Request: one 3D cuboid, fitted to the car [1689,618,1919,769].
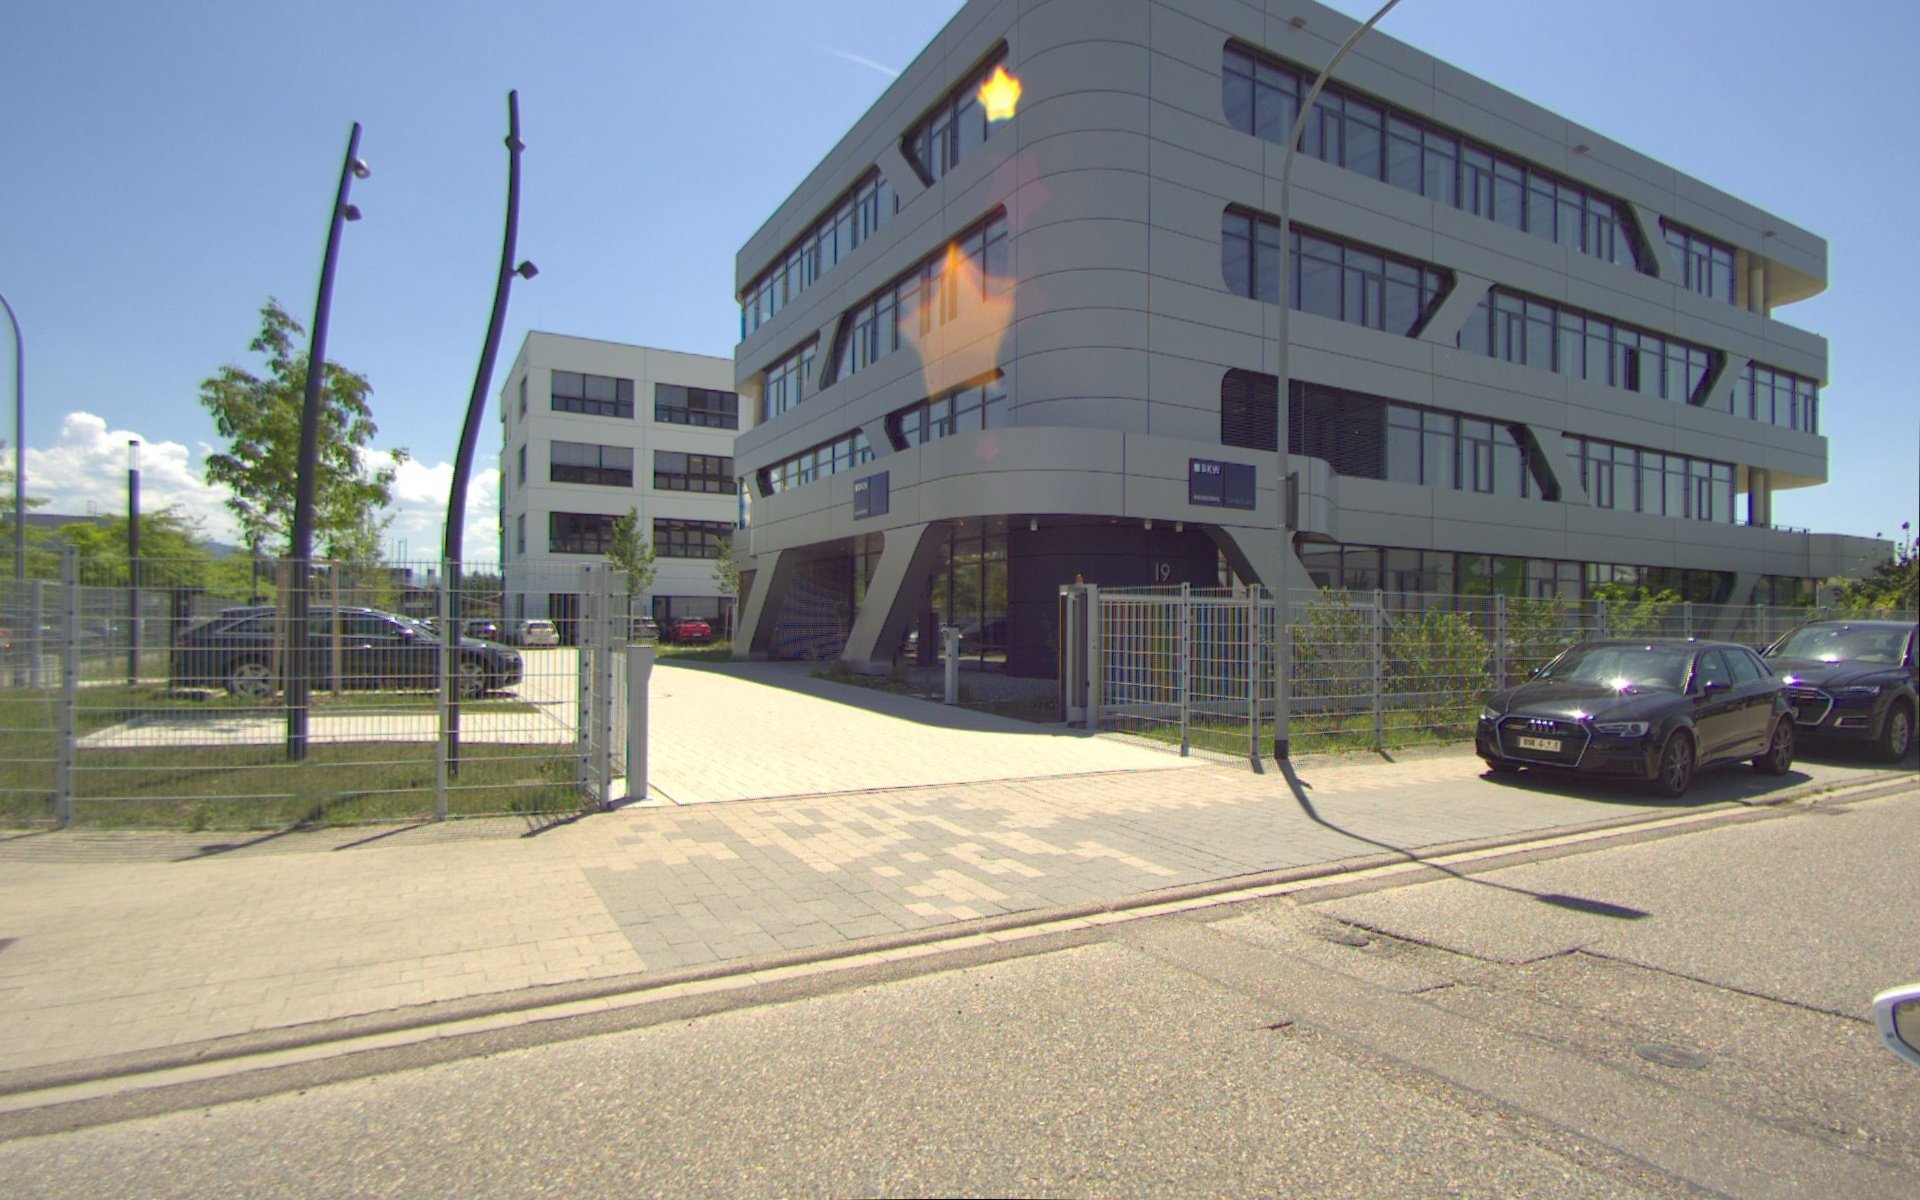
[{"bbox_3d":[11.917,1.092,13.324,4.790,1.673,1.762,0,-1,-29],"label":"car"}]

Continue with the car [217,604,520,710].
[{"bbox_3d":[-9.495,0.877,16.422,4.058,1.531,1.762,1,-2,-31],"label":"car"}]

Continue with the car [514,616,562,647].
[{"bbox_3d":[-21.894,1.613,52.077,1.756,1.531,4.072,1,-2,-30],"label":"car"}]

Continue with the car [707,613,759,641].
[{"bbox_3d":[-13.025,1.534,57.494,1.756,1.531,4.072,1,-2,-30],"label":"car"}]

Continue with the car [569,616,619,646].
[{"bbox_3d":[-19.465,1.616,53.324,1.756,1.531,4.072,1,-2,-30],"label":"car"}]

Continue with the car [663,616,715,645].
[{"bbox_3d":[-15.130,1.678,55.972,1.756,1.531,4.072,1,-2,-30],"label":"car"}]

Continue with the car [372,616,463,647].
[{"bbox_3d":[-28.207,1.636,52.259,4.058,1.531,1.762,1,-2,-31],"label":"car"}]

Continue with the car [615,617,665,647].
[{"bbox_3d":[-17.408,1.729,54.493,1.756,1.531,4.072,1,-2,-30],"label":"car"}]

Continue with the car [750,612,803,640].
[{"bbox_3d":[-10.751,1.523,58.620,1.756,1.531,4.072,1,-2,-30],"label":"car"}]

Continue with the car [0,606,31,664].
[{"bbox_3d":[-26.850,0.930,25.821,4.067,1.495,1.598,-1,0,-30],"label":"car"}]

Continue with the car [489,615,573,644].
[{"bbox_3d":[-23.615,1.639,55.317,4.058,1.531,1.762,1,-2,-31],"label":"car"}]

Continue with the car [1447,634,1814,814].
[{"bbox_3d":[7.227,1.157,10.720,4.140,1.486,1.760,0,-1,-33],"label":"car"}]

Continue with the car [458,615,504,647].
[{"bbox_3d":[-24.126,1.562,50.500,1.756,1.531,4.072,1,-2,-30],"label":"car"}]

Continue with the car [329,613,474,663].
[{"bbox_3d":[-18.290,1.234,33.014,4.058,1.531,1.762,1,-2,-31],"label":"car"}]
